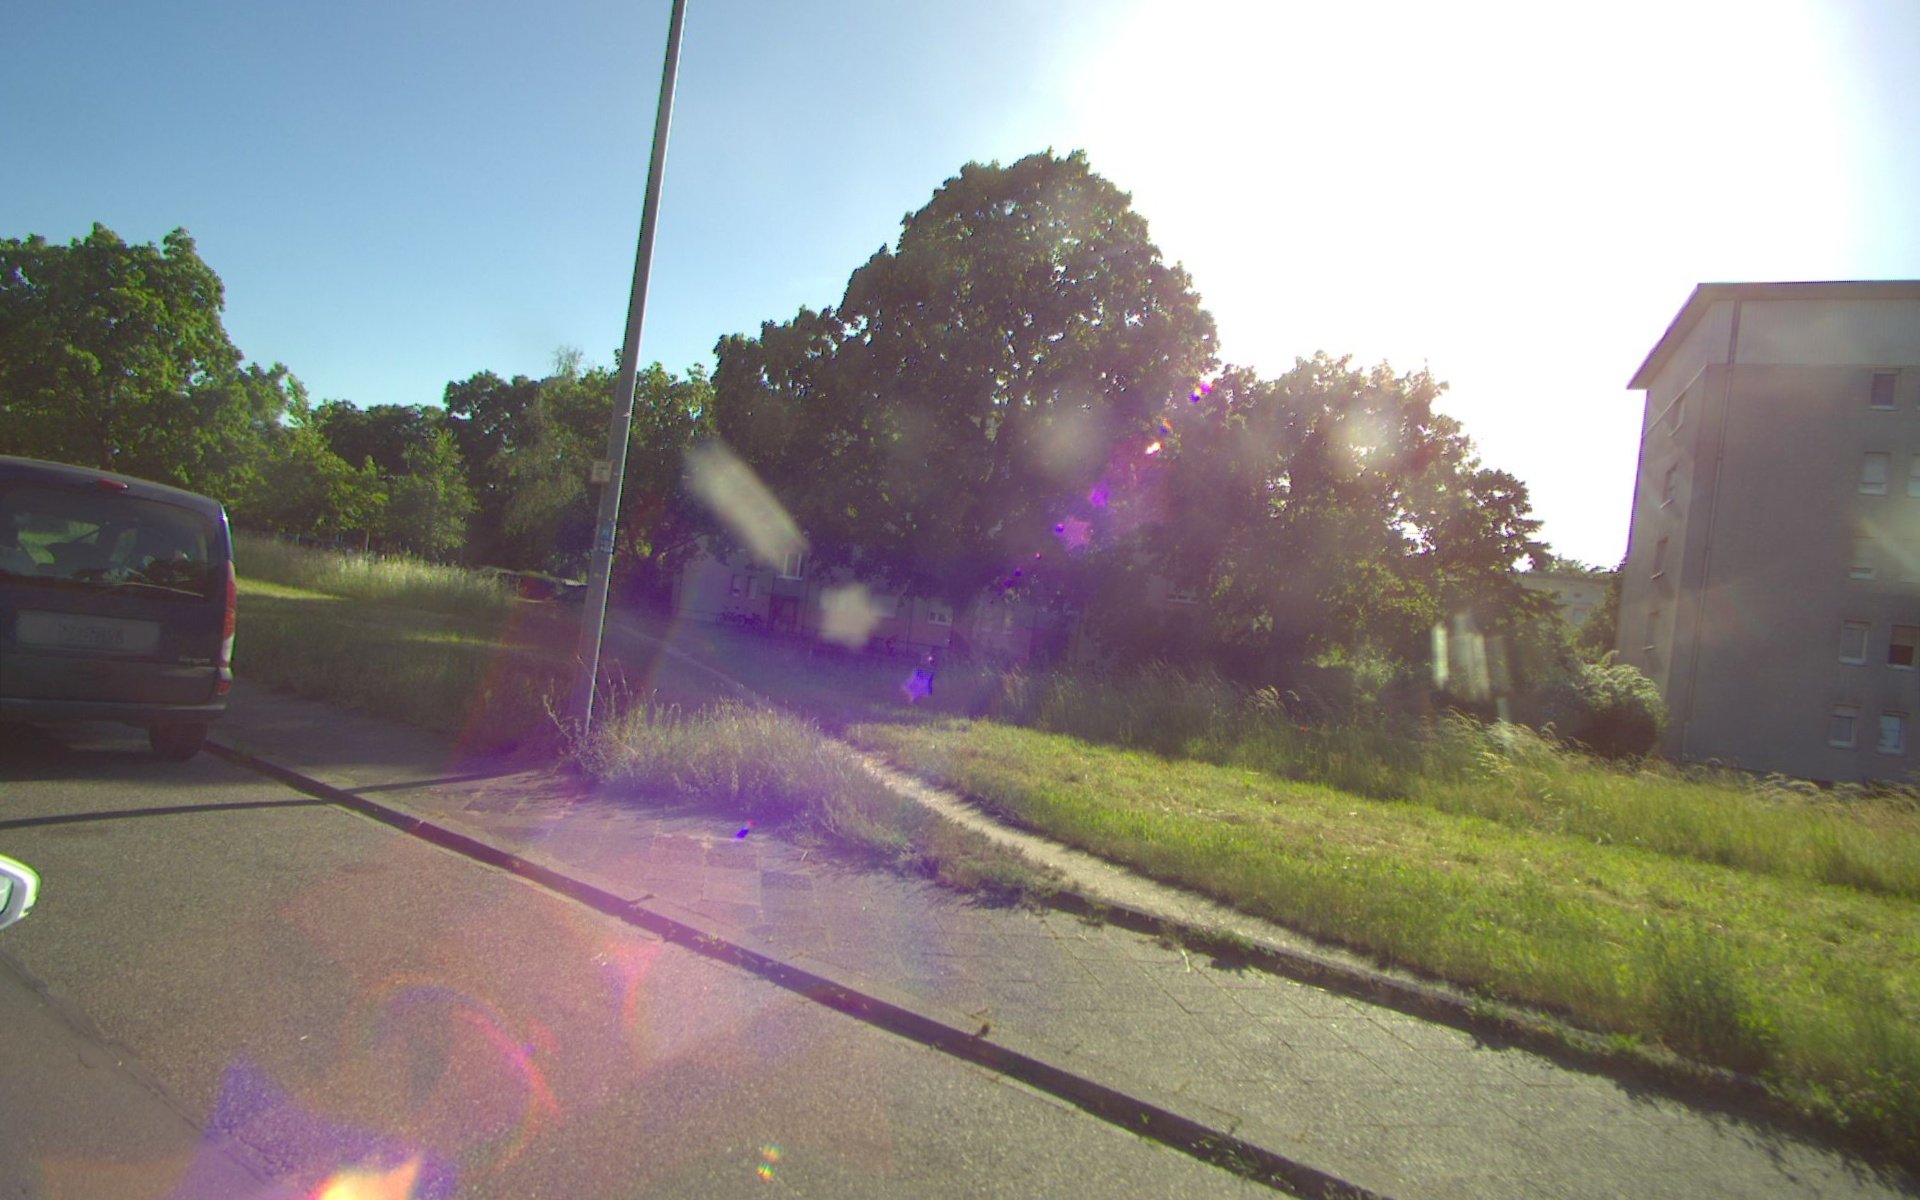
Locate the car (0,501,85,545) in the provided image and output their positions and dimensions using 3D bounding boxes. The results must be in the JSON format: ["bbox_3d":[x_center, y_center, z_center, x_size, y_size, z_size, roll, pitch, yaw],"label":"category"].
[{"bbox_3d":[-45.239,-3.819,49.001,1.804,1.596,3.680,7,-2,43],"label":"car"}]

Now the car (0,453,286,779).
[{"bbox_3d":[-6.596,-0.046,6.887,4.018,1.749,1.701,7,-3,34],"label":"car"}]

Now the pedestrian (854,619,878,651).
[{"bbox_3d":[-4.778,1.786,51.156,0.754,1.474,0.757,7,-1,21],"label":"pedestrian"}]

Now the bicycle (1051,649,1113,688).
[{"bbox_3d":[5.842,3.273,48.120,2.707,1.543,0.782,6,-1,27],"label":"bicycle"}]

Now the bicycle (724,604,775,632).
[{"bbox_3d":[-12.316,1.063,58.811,2.645,1.219,0.941,8,-1,9],"label":"bicycle"}]

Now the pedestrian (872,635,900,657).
[{"bbox_3d":[-3.464,2.174,47.335,0.986,0.858,0.745,7,-1,25],"label":"pedestrian"}]
